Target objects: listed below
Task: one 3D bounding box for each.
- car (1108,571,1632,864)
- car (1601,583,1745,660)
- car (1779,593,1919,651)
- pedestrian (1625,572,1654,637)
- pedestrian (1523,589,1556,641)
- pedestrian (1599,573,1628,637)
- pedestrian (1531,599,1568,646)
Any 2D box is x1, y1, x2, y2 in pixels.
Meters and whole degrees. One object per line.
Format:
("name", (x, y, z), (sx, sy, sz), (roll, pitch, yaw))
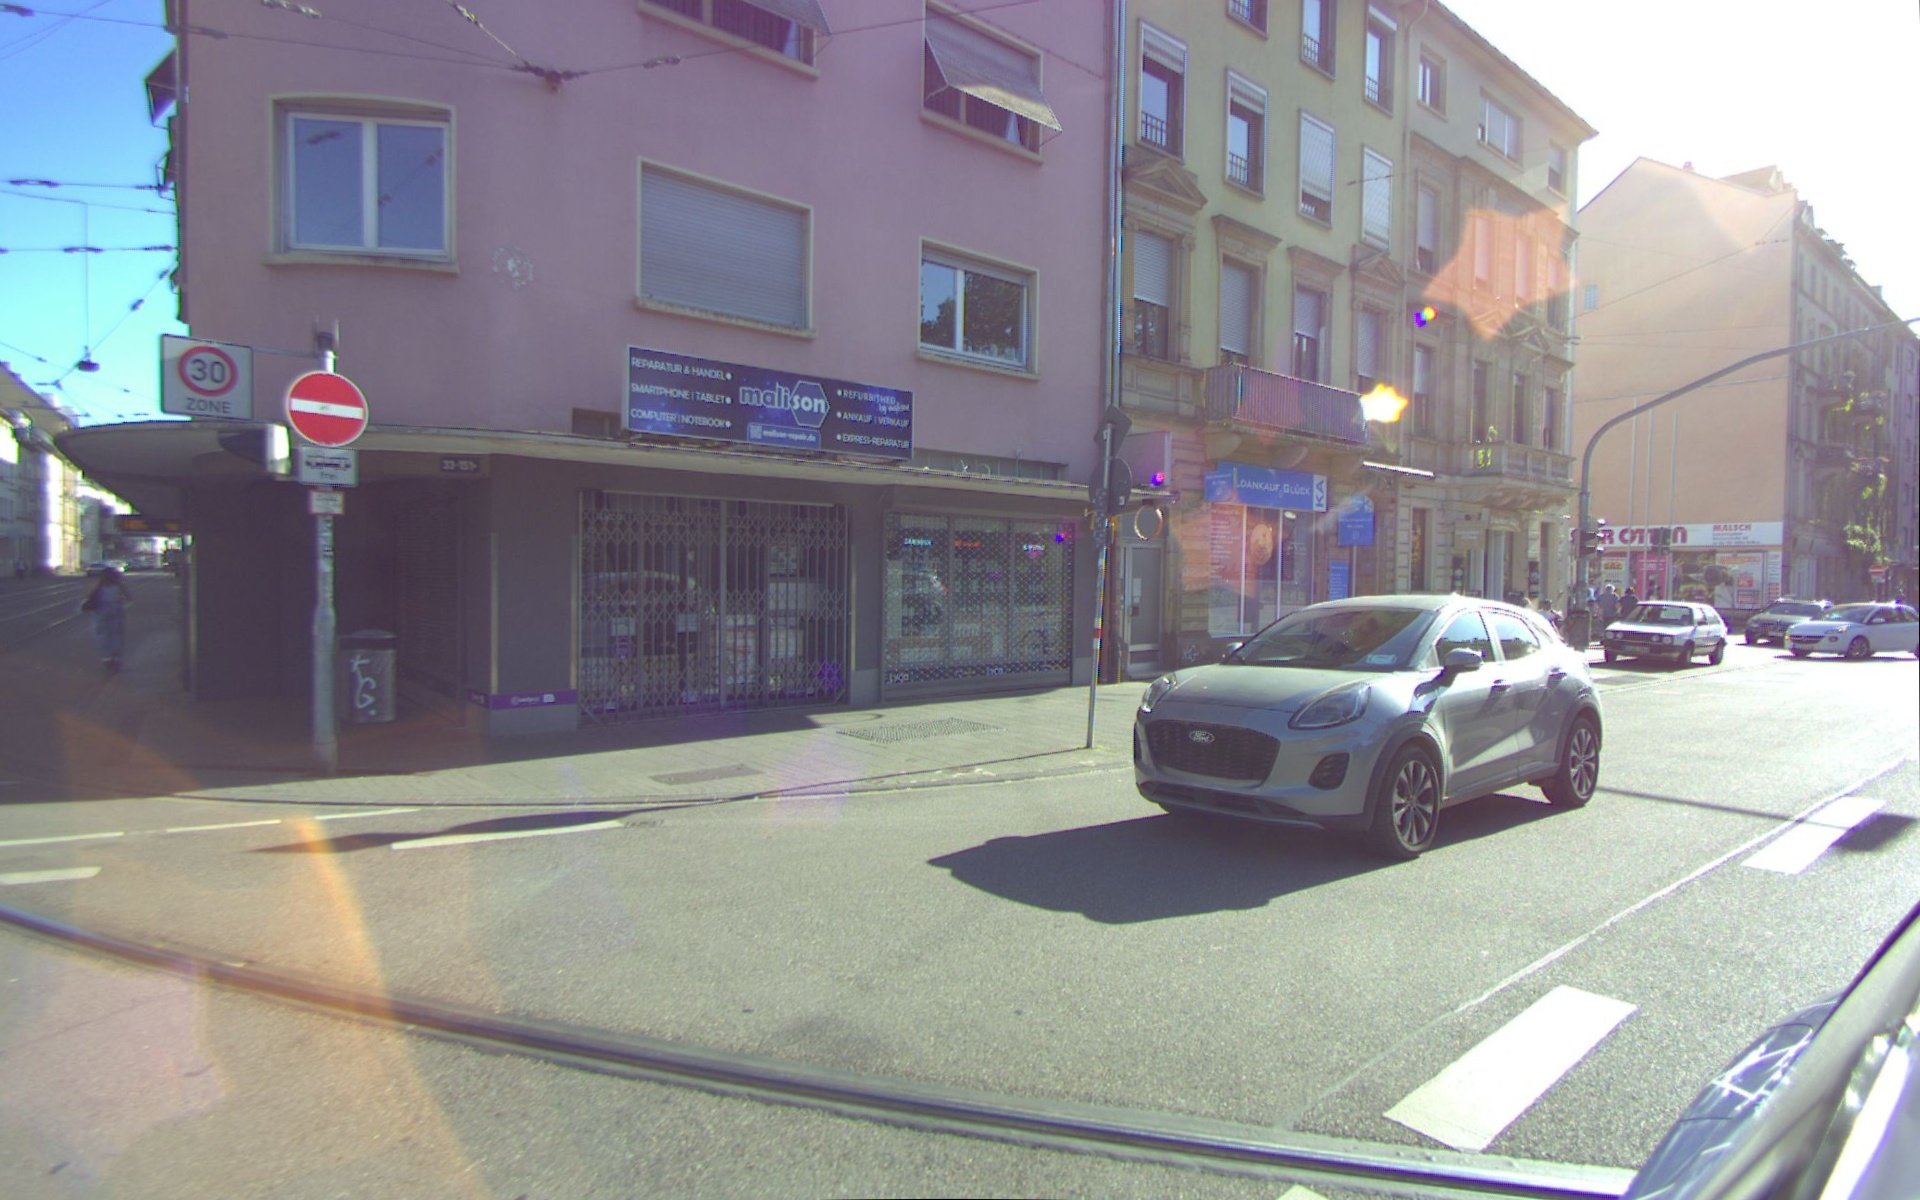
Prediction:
("car", (3.002, 0.587, 7.065), (3.900, 1.500, 1.659), (-1, 0, -38))
("car", (16.426, 0.425, 23.271), (3.930, 1.537, 1.738), (-1, 3, -40))
("car", (24.850, 0.563, 27.548), (3.917, 1.469, 1.820), (-1, 0, -10))
("pedestrian", (19.058, 0.121, 28.394), (0.648, 1.784, 0.495), (0, 1, -40))
("pedestrian", (14.421, 0.361, 25.179), (0.648, 1.275, 0.495), (0, 1, -37))
("pedestrian", (18.723, 0.131, 28.987), (0.648, 1.784, 0.495), (0, 1, -40))
("pedestrian", (15.164, 0.567, 26.038), (0.485, 1.185, 0.661), (0, 1, -25))
